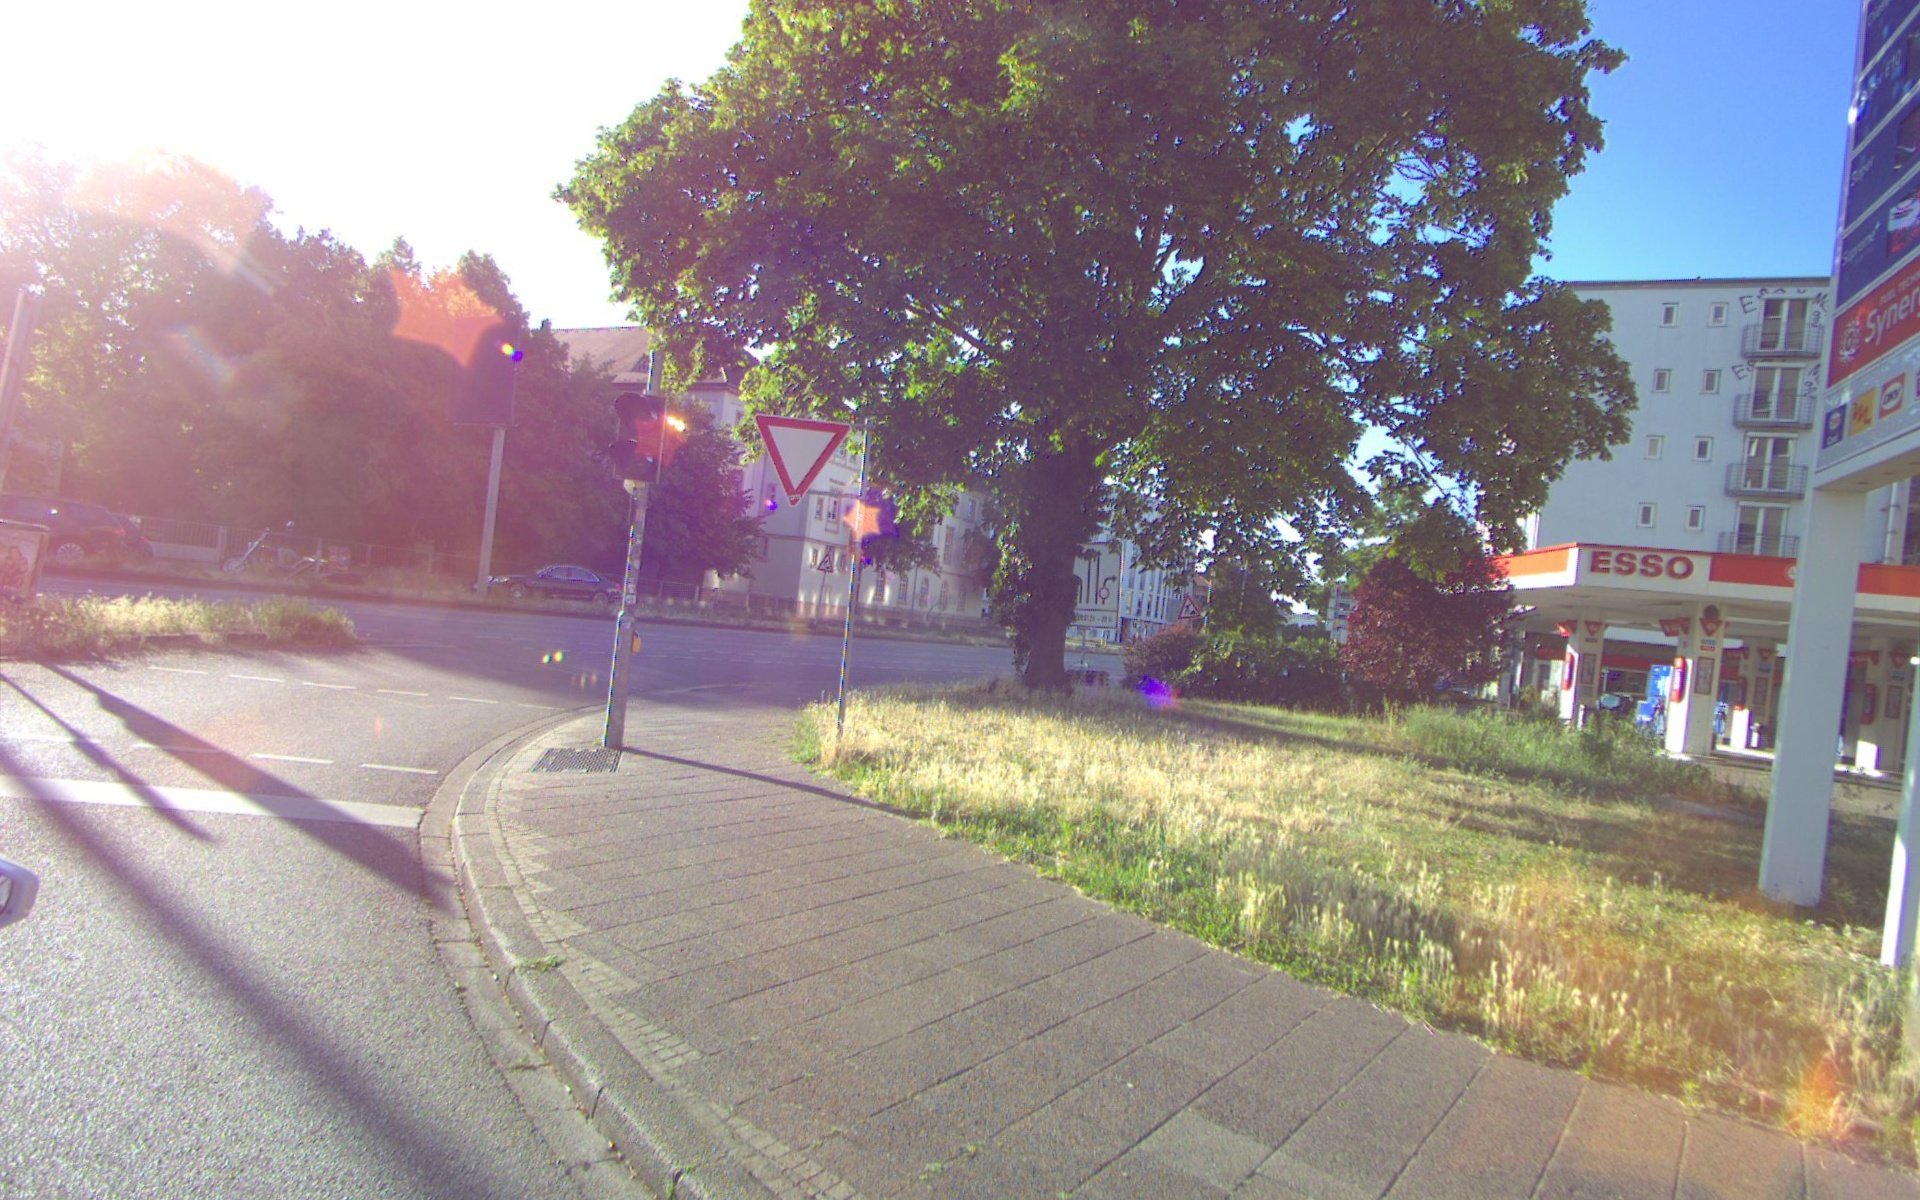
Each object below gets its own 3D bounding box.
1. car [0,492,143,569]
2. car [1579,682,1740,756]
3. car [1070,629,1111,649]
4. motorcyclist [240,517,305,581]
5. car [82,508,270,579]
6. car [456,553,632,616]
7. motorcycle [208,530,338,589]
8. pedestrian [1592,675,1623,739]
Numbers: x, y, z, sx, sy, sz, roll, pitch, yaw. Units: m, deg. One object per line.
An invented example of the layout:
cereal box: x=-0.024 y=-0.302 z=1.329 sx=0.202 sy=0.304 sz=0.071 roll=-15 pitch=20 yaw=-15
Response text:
car: x=-20.171 y=-1.603 z=21.170 sx=1.701 sy=1.312 sz=4.355 roll=6 pitch=-1 yaw=42
car: x=19.506 y=3.278 z=28.292 sx=1.962 sy=1.371 sz=4.000 roll=6 pitch=1 yaw=7
car: x=15.523 y=4.645 z=119.555 sx=4.311 sy=1.854 sz=2.001 roll=6 pitch=0 yaw=16
motorcyclist: x=-16.936 y=-1.248 z=24.796 sx=0.843 sy=1.415 sz=1.056 roll=6 pitch=0 yaw=42
car: x=-23.287 y=-1.644 z=29.992 sx=1.831 sy=1.482 sz=3.988 roll=7 pitch=-1 yaw=35
car: x=-14.152 y=-0.490 z=34.565 sx=1.969 sy=1.514 sz=5.276 roll=6 pitch=-1 yaw=36
motorcycle: x=-16.911 y=-0.988 z=24.832 sx=0.849 sy=1.121 sz=2.458 roll=6 pitch=-1 yaw=42
pedestrian: x=18.100 y=2.983 z=28.121 sx=0.413 sy=1.726 sz=0.420 roll=6 pitch=0 yaw=8
